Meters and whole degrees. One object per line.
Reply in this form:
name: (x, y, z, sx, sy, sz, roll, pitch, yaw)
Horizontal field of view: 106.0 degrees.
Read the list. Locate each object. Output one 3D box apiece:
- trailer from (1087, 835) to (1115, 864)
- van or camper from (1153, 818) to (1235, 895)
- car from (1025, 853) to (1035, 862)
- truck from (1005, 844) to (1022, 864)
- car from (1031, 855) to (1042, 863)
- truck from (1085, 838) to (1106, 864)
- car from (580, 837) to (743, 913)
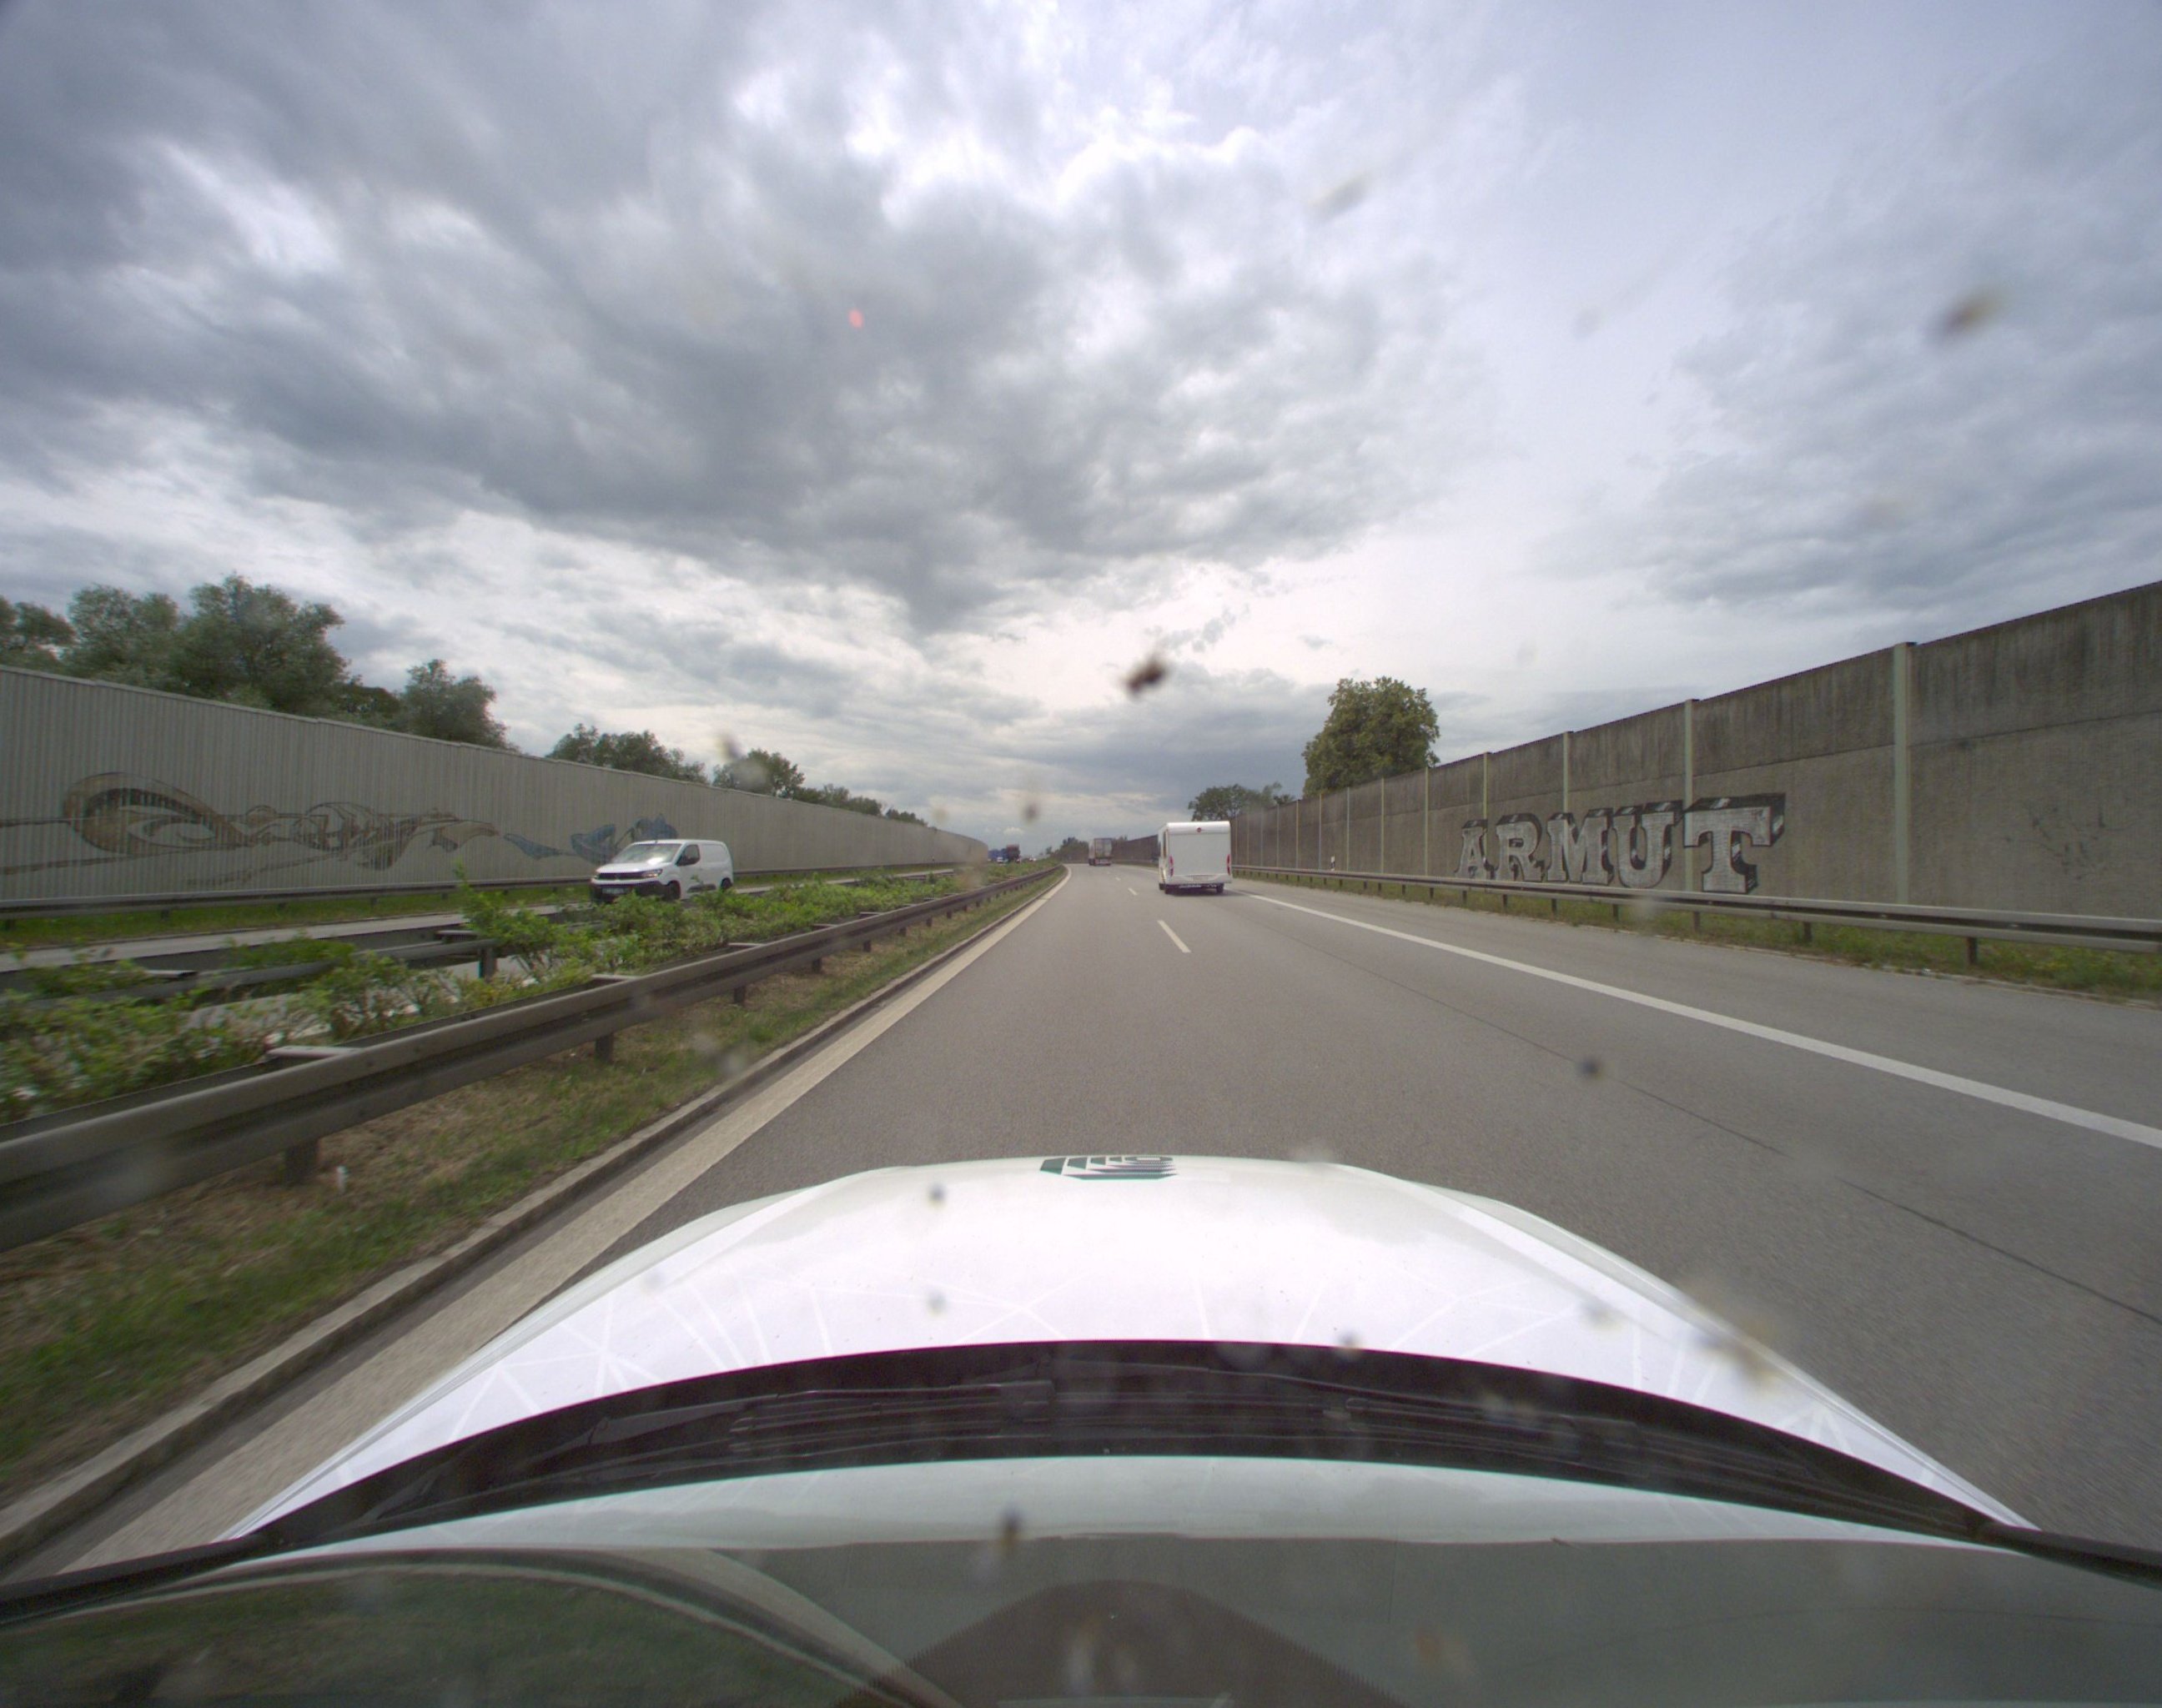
trailer: (2.870, -0.605, 123.063, 2.788, 4.174, 14.080, 0, 0, -4)
van or camper: (4.284, 0.084, 32.290, 2.420, 2.696, 7.227, 0, 0, 1)
car: (-9.083, 0.607, 144.480, 1.712, 1.642, 4.698, -1, 0, -4)
truck: (-13.645, -0.048, 165.038, 2.866, 3.859, 6.070, -2, 0, -2)
car: (-9.168, 1.038, 168.308, 1.925, 1.548, 4.565, -1, 0, 0)
truck: (2.251, -0.430, 129.487, 2.752, 3.960, 5.666, -1, -1, -5)
car: (-10.758, 0.494, 21.323, 1.735, 1.744, 4.629, -1, 0, 1)
